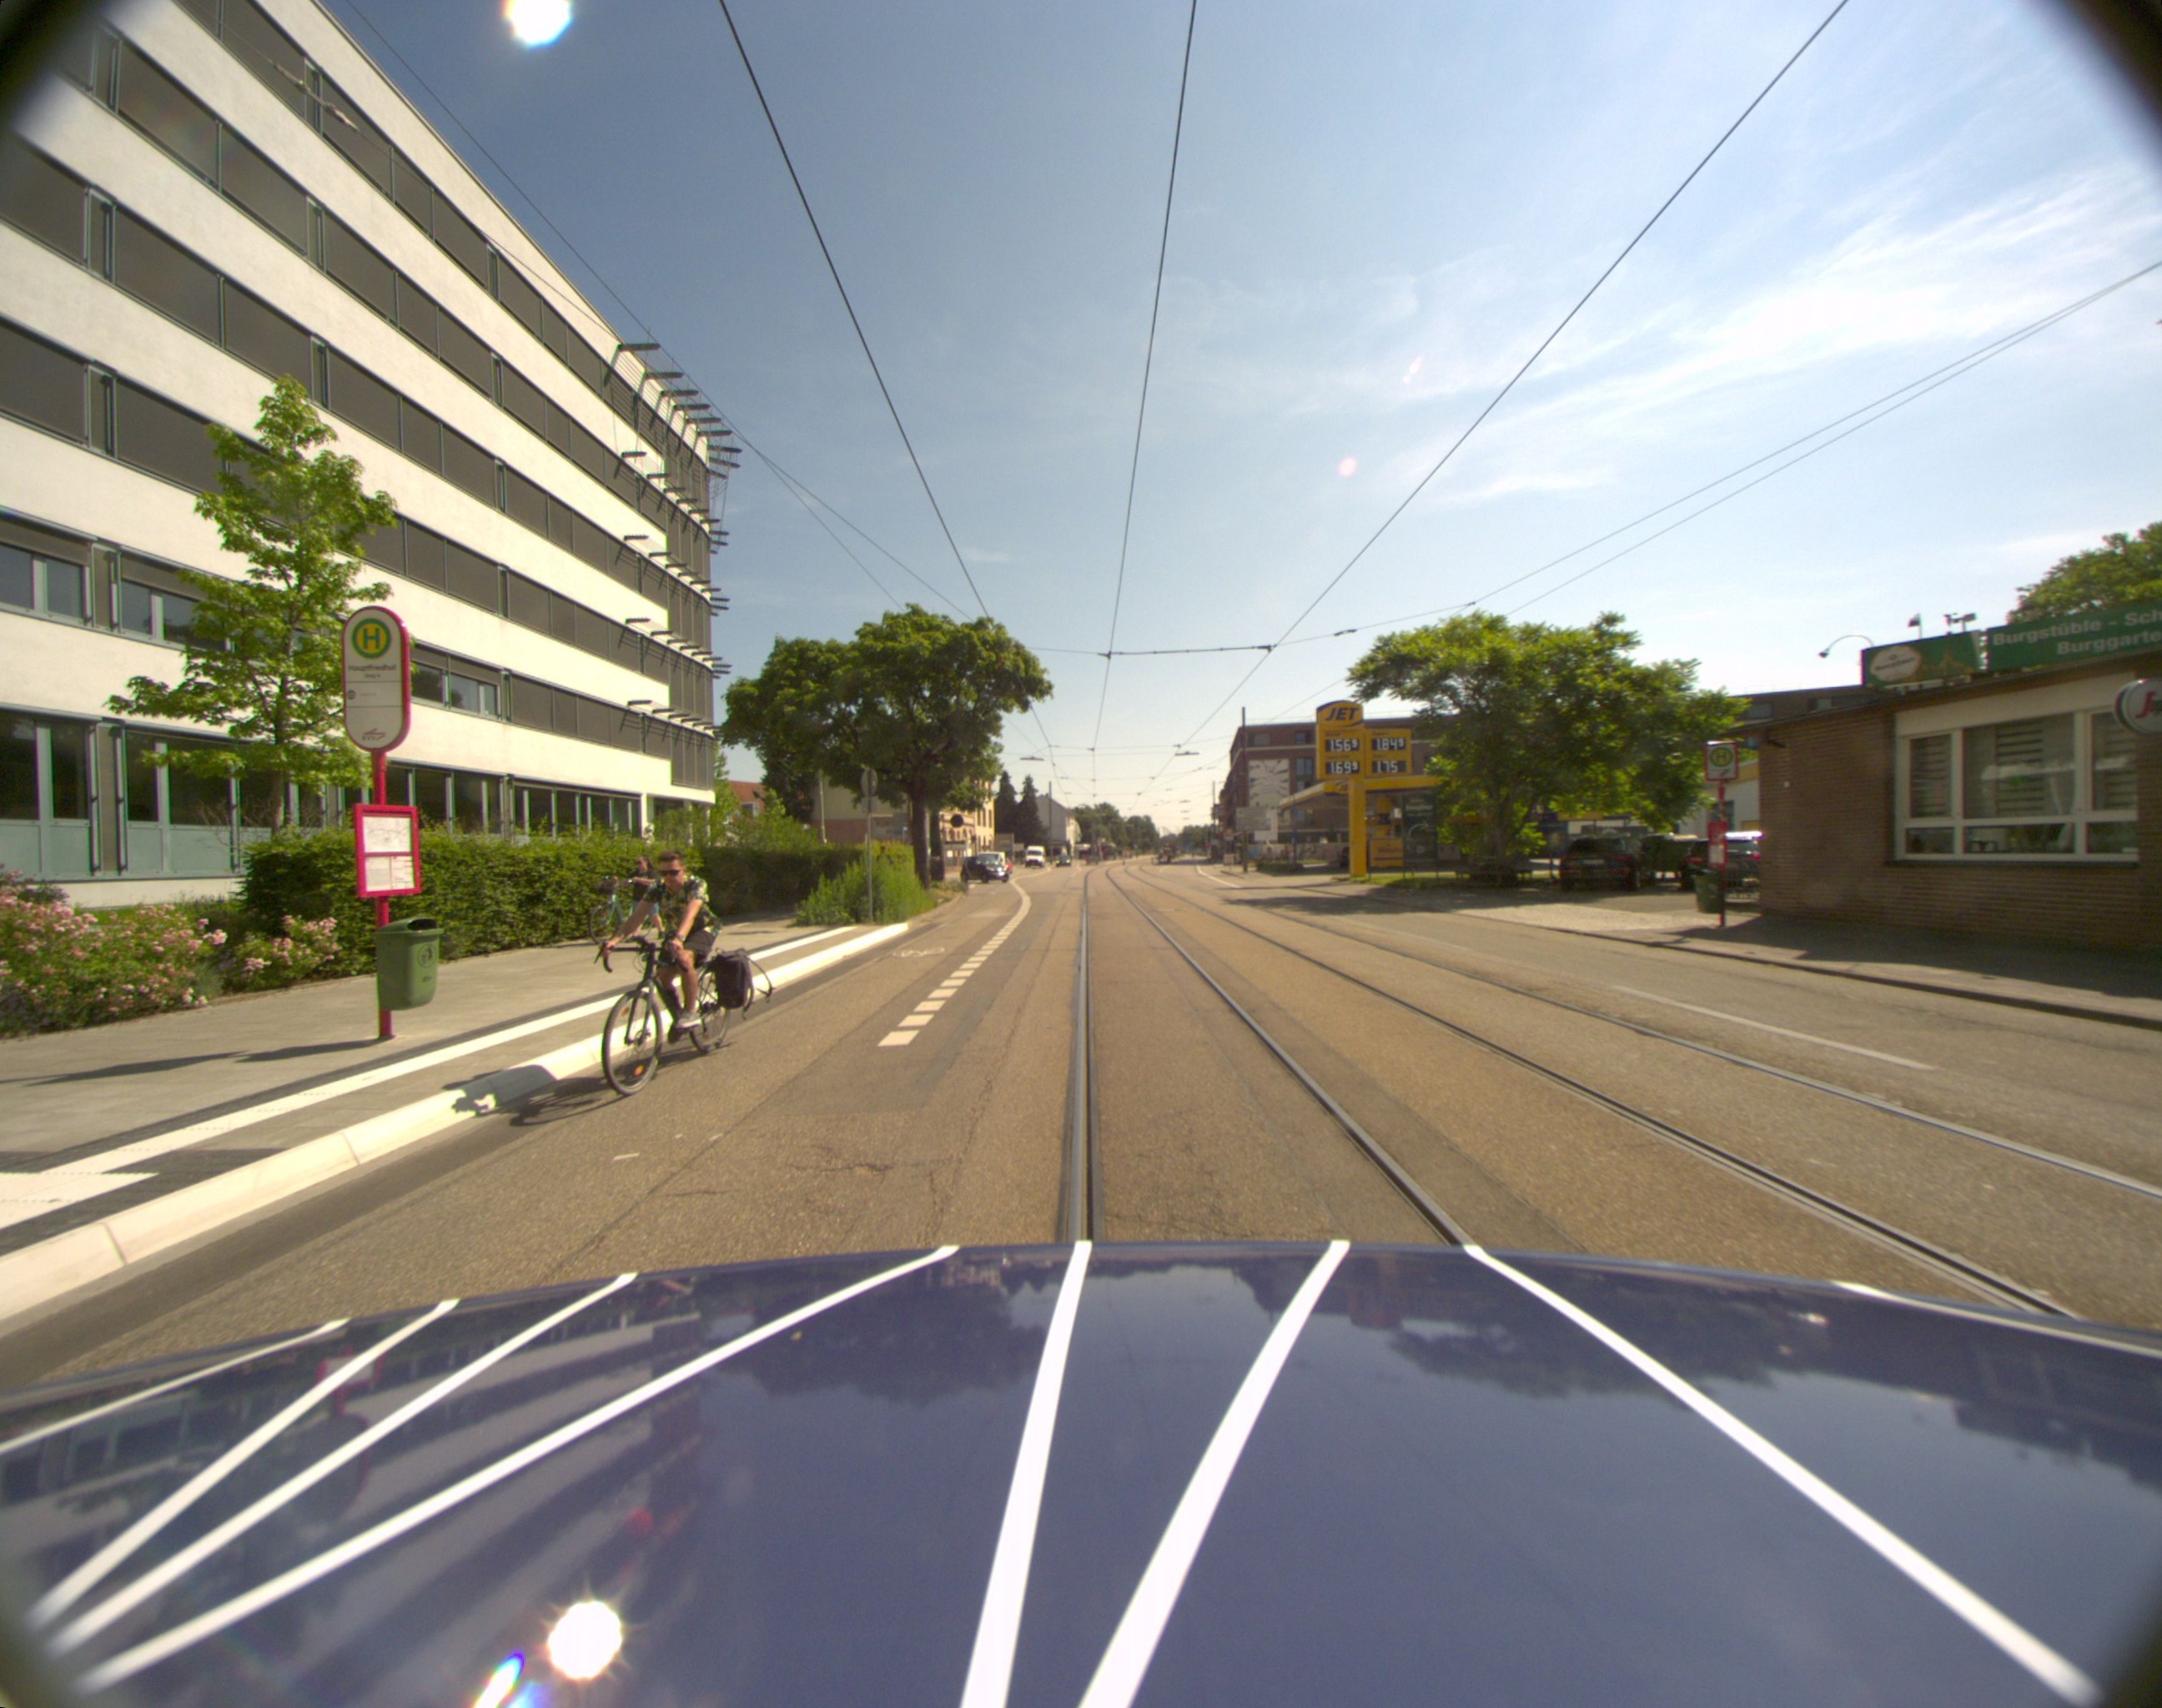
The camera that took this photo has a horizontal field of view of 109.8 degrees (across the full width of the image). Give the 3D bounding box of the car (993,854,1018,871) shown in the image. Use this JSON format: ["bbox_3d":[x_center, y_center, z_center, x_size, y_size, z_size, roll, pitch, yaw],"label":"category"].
[{"bbox_3d":[-6.708,0.715,67.638,1.724,1.398,4.001,-2,0,1],"label":"car"}]

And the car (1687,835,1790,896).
[{"bbox_3d":[17.831,0.259,20.533,1.842,1.465,4.008,-1,1,44],"label":"car"}]

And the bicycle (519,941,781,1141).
[{"bbox_3d":[-3.101,1.287,5.790,0.610,0.978,2.164,-2,0,4],"label":"bicycle"}]

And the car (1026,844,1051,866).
[{"bbox_3d":[-5.028,0.098,91.173,2.335,2.521,6.507,1,0,2],"label":"car"}]

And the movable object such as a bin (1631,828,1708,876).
[{"bbox_3d":[19.041,-0.070,24.634,1.420,1.494,1.380,0,1,4],"label":"movable object such as a bin"}]

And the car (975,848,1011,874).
[{"bbox_3d":[-7.054,0.552,61.295,2.089,2.002,4.908,0,0,2],"label":"car"}]

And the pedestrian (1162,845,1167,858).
[{"bbox_3d":[11.649,-0.392,106.404,0.557,1.750,0.793,-2,1,2],"label":"pedestrian"}]

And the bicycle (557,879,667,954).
[{"bbox_3d":[-8.215,1.055,13.437,0.637,1.111,2.066,-2,1,0],"label":"bicycle"}]

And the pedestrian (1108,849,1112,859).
[{"bbox_3d":[4.724,0.003,124.288,0.707,1.680,0.416,-1,1,0],"label":"pedestrian"}]

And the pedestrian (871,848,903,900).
[{"bbox_3d":[-6.905,0.696,27.085,0.892,1.807,1.073,-2,1,-6],"label":"pedestrian"}]

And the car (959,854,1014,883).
[{"bbox_3d":[-5.253,0.758,41.906,1.482,1.530,2.968,-1,1,-45],"label":"car"}]

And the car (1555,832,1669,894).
[{"bbox_3d":[15.879,0.220,22.616,2.014,1.631,4.669,-1,1,44],"label":"car"}]

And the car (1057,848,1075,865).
[{"bbox_3d":[-1.847,0.334,92.566,1.998,2.002,4.000,-1,1,2],"label":"car"}]

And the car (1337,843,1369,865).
[{"bbox_3d":[19.774,-0.006,55.165,1.757,1.446,4.417,-4,-2,24],"label":"car"}]

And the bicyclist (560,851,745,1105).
[{"bbox_3d":[-3.120,0.842,5.635,0.718,1.714,0.988,-1,1,3],"label":"bicyclist"}]

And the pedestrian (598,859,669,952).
[{"bbox_3d":[-7.822,0.881,13.325,0.688,1.554,0.988,0,1,-4],"label":"pedestrian"}]
